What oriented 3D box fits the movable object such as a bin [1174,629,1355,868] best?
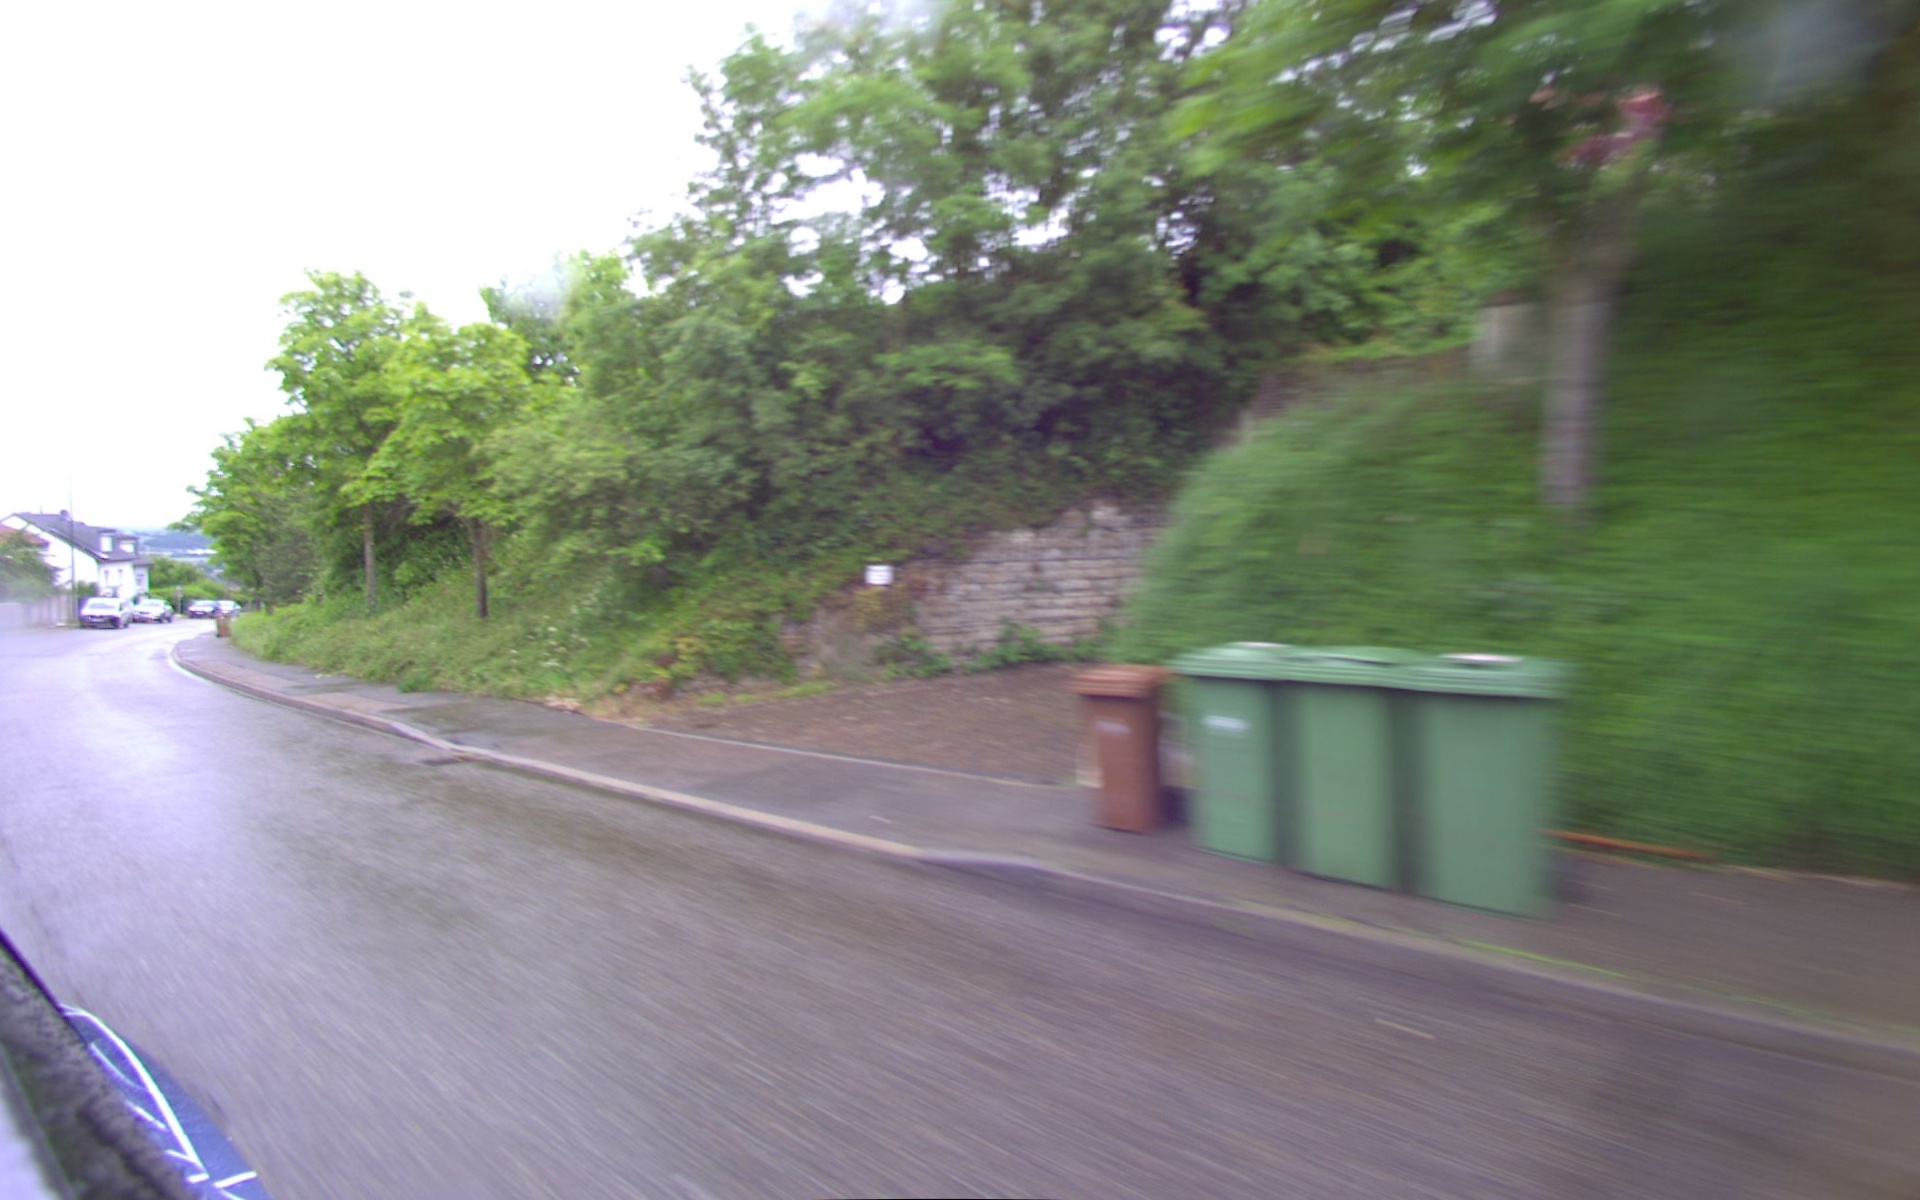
[{"bbox_3d":[1.563,0.706,5.185,0.673,1.089,0.641,-1,0,42],"label":"movable object such as a bin"}]

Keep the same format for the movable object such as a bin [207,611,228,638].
[{"bbox_3d":[-33.061,1.095,45.071,0.685,1.099,0.805,-2,-3,-30],"label":"movable object such as a bin"}]

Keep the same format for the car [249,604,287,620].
[{"bbox_3d":[-71.922,1.210,105.204,1.832,1.538,5.079,3,-2,-18],"label":"car"}]

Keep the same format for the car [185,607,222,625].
[{"bbox_3d":[-64.582,1.343,86.456,1.635,1.478,3.776,3,-2,-24],"label":"car"}]

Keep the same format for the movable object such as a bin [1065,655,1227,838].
[{"bbox_3d":[1.066,0.797,5.792,0.673,0.918,0.641,-1,0,42],"label":"movable object such as a bin"}]

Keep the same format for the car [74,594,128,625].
[{"bbox_3d":[-51.953,0.558,61.302,1.754,1.817,4.721,1,-1,-32],"label":"car"}]

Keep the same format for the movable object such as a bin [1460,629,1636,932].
[{"bbox_3d":[2.469,0.693,4.239,0.505,1.124,0.641,-1,0,42],"label":"movable object such as a bin"}]

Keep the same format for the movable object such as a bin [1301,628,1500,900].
[{"bbox_3d":[2.048,0.700,4.704,0.673,1.112,0.641,-1,0,42],"label":"movable object such as a bin"}]

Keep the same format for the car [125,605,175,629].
[{"bbox_3d":[-58.421,1.192,73.102,1.779,1.639,4.302,3,-2,-25],"label":"car"}]

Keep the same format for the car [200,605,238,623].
[{"bbox_3d":[-67.004,1.272,91.523,1.743,1.478,4.248,3,-2,-22],"label":"car"}]
